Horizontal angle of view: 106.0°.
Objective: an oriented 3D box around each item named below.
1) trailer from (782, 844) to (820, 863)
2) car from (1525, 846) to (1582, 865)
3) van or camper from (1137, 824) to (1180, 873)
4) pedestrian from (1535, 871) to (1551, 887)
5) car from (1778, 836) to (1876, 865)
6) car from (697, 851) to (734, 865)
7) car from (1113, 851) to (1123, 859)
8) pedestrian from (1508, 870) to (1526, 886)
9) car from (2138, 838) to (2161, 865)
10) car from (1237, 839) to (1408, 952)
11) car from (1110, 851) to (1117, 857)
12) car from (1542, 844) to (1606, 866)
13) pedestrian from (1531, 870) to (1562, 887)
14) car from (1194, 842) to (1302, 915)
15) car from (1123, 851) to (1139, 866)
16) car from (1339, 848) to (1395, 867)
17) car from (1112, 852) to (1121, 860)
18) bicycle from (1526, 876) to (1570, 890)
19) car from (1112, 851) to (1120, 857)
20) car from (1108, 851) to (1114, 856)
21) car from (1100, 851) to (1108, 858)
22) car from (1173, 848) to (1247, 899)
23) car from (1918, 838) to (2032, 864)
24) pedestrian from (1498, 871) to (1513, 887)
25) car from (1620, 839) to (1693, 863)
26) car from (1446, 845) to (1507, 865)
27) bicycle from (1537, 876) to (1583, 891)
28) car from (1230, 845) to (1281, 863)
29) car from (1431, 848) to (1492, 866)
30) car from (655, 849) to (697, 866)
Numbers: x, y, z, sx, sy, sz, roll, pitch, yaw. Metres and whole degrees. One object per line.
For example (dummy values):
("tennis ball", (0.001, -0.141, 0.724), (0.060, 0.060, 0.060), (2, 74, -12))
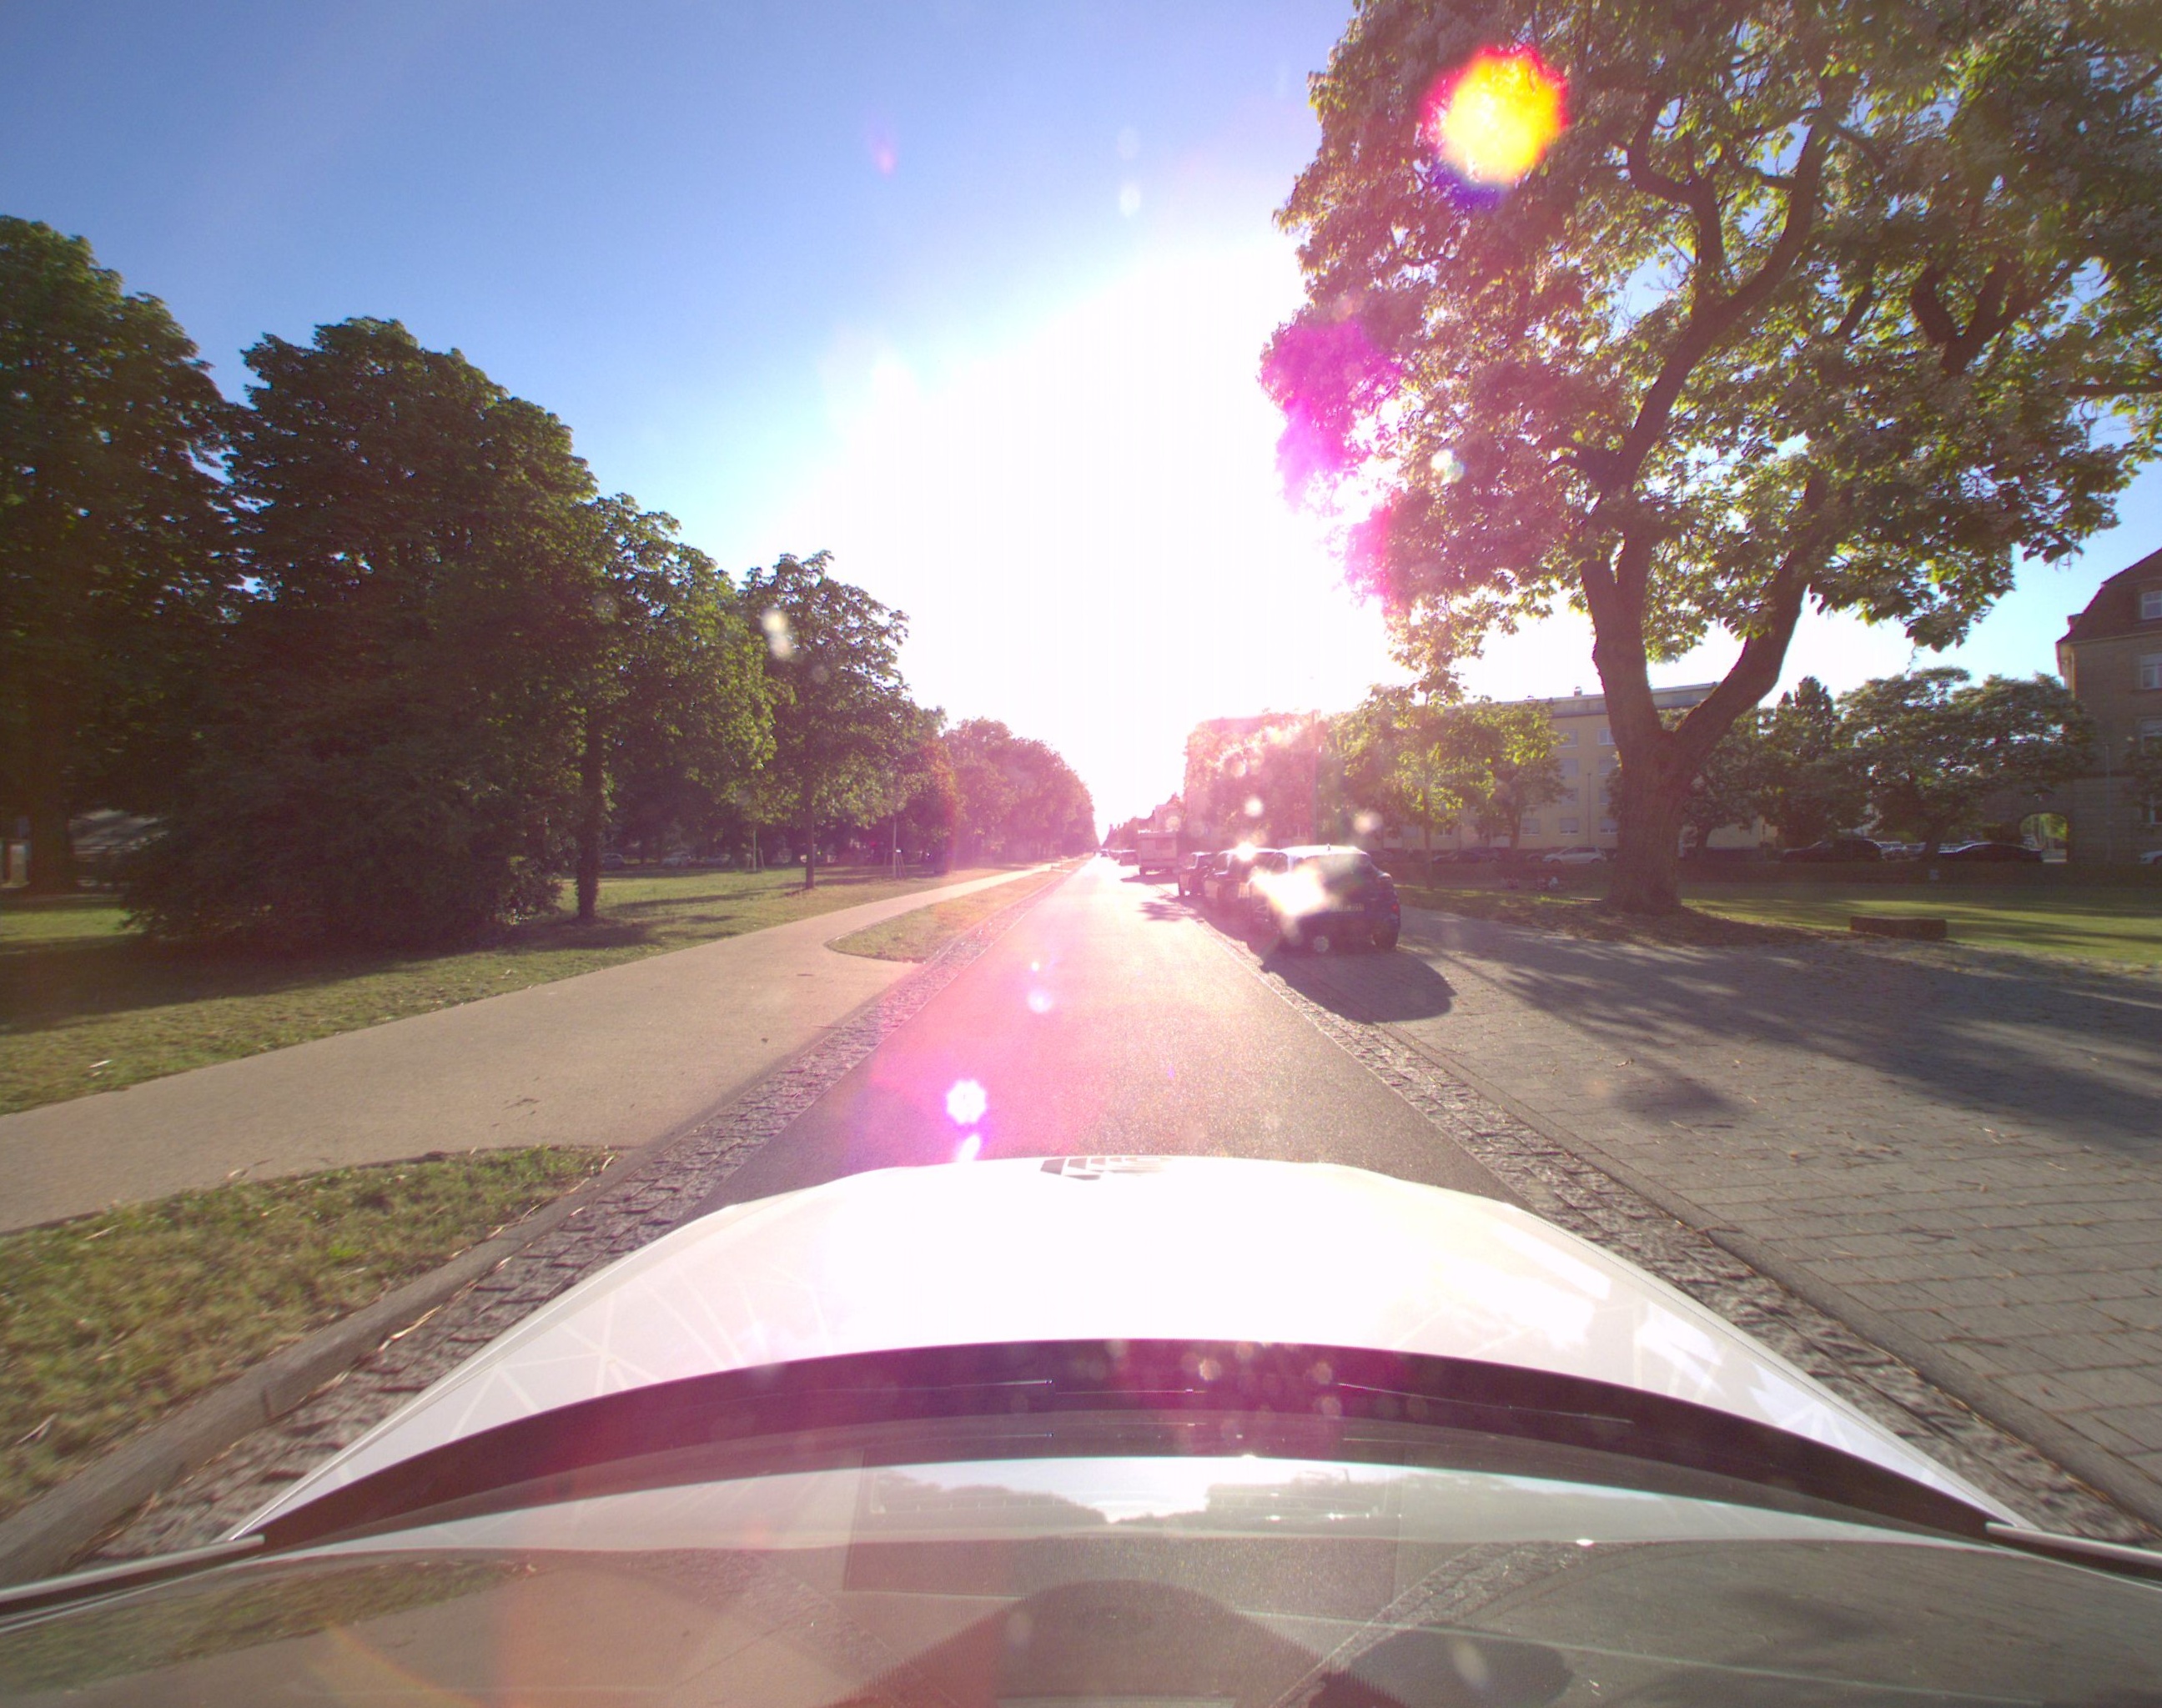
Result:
("trailer", (-38.838, -0.037, 113.223), (2.449, 2.489, 7.053), (-1, 0, 2))
("car", (38.051, 0.114, 65.660), (3.949, 1.453, 1.892), (-1, 0, 30))
("van or camper", (4.778, -0.277, 51.091), (2.226, 2.904, 5.673), (-1, -1, 1))
("pedestrian", (24.035, 1.302, 42.386), (0.470, 0.812, 0.612), (0, 0, 3))
("car", (47.276, -0.189, 51.678), (4.470, 1.746, 1.891), (-1, 0, 45))
("car", (-39.661, 0.435, 88.440), (1.986, 1.508, 4.117), (-1, 0, 2))
("car", (6.650, 0.189, 145.867), (1.620, 1.410, 4.250), (-1, 0, 1))
("pedestrian", (23.184, 1.286, 43.323), (0.608, 0.812, 0.724), (0, 0, 3))
("car", (61.353, -0.163, 44.632), (1.886, 1.453, 3.962), (-1, 0, -30))
("car", (3.784, 0.584, 13.534), (1.725, 1.551, 4.278), (-1, 0, 2))
("car", (7.735, 0.069, 192.949), (1.620, 1.410, 4.250), (-1, 0, 1))
("car", (36.150, 0.054, 59.856), (3.949, 1.552, 1.620), (-1, 0, 29))
("pedestrian", (23.731, 1.250, 41.546), (0.577, 0.812, 1.244), (0, 0, -43))
("car", (3.919, 0.532, 19.787), (1.726, 1.551, 4.422), (-1, 0, 0))
("car", (5.608, 0.506, 92.384), (1.620, 1.669, 4.250), (-1, 0, 1))
("car", (22.840, 0.260, 65.216), (4.162, 1.462, 1.700), (-1, 0, 16))
("car", (6.916, 0.362, 157.533), (1.620, 1.410, 4.250), (-1, 0, 1))
("bicycle", (23.034, 1.419, 40.225), (1.749, 0.615, 1.823), (0, 0, 26))
("car", (7.624, -0.005, 176.713), (1.620, 1.410, 4.250), (-1, 0, 1))
("car", (9.119, -0.100, 245.377), (1.620, 1.410, 4.250), (-1, 0, 1))
("car", (5.333, 0.084, 186.687), (1.819, 1.669, 4.250), (-1, 0, 1))
("car", (4.080, 0.586, 26.371), (1.622, 1.464, 4.246), (-1, 0, -2))
("car", (51.891, -0.169, 47.343), (1.889, 1.453, 4.319), (-1, 0, -36))
("pedestrian", (22.103, 1.289, 42.445), (0.470, 0.812, 0.612), (0, 0, 3))
("car", (43.890, -0.183, 62.126), (4.467, 1.746, 1.892), (-1, 0, 36))
("car", (33.159, 0.090, 68.400), (4.473, 1.569, 1.890), (-1, 0, 20))
("bicycle", (22.711, 1.381, 38.657), (1.749, 0.615, 1.823), (0, 0, 26))
("car", (15.559, 0.015, 72.795), (4.174, 1.530, 2.003), (-1, 0, 5))
("car", (29.465, 0.252, 63.205), (4.158, 1.357, 1.702), (-1, 0, 22))
("car", (-39.679, 0.335, 79.873), (1.986, 1.508, 4.117), (-1, 0, 2))
